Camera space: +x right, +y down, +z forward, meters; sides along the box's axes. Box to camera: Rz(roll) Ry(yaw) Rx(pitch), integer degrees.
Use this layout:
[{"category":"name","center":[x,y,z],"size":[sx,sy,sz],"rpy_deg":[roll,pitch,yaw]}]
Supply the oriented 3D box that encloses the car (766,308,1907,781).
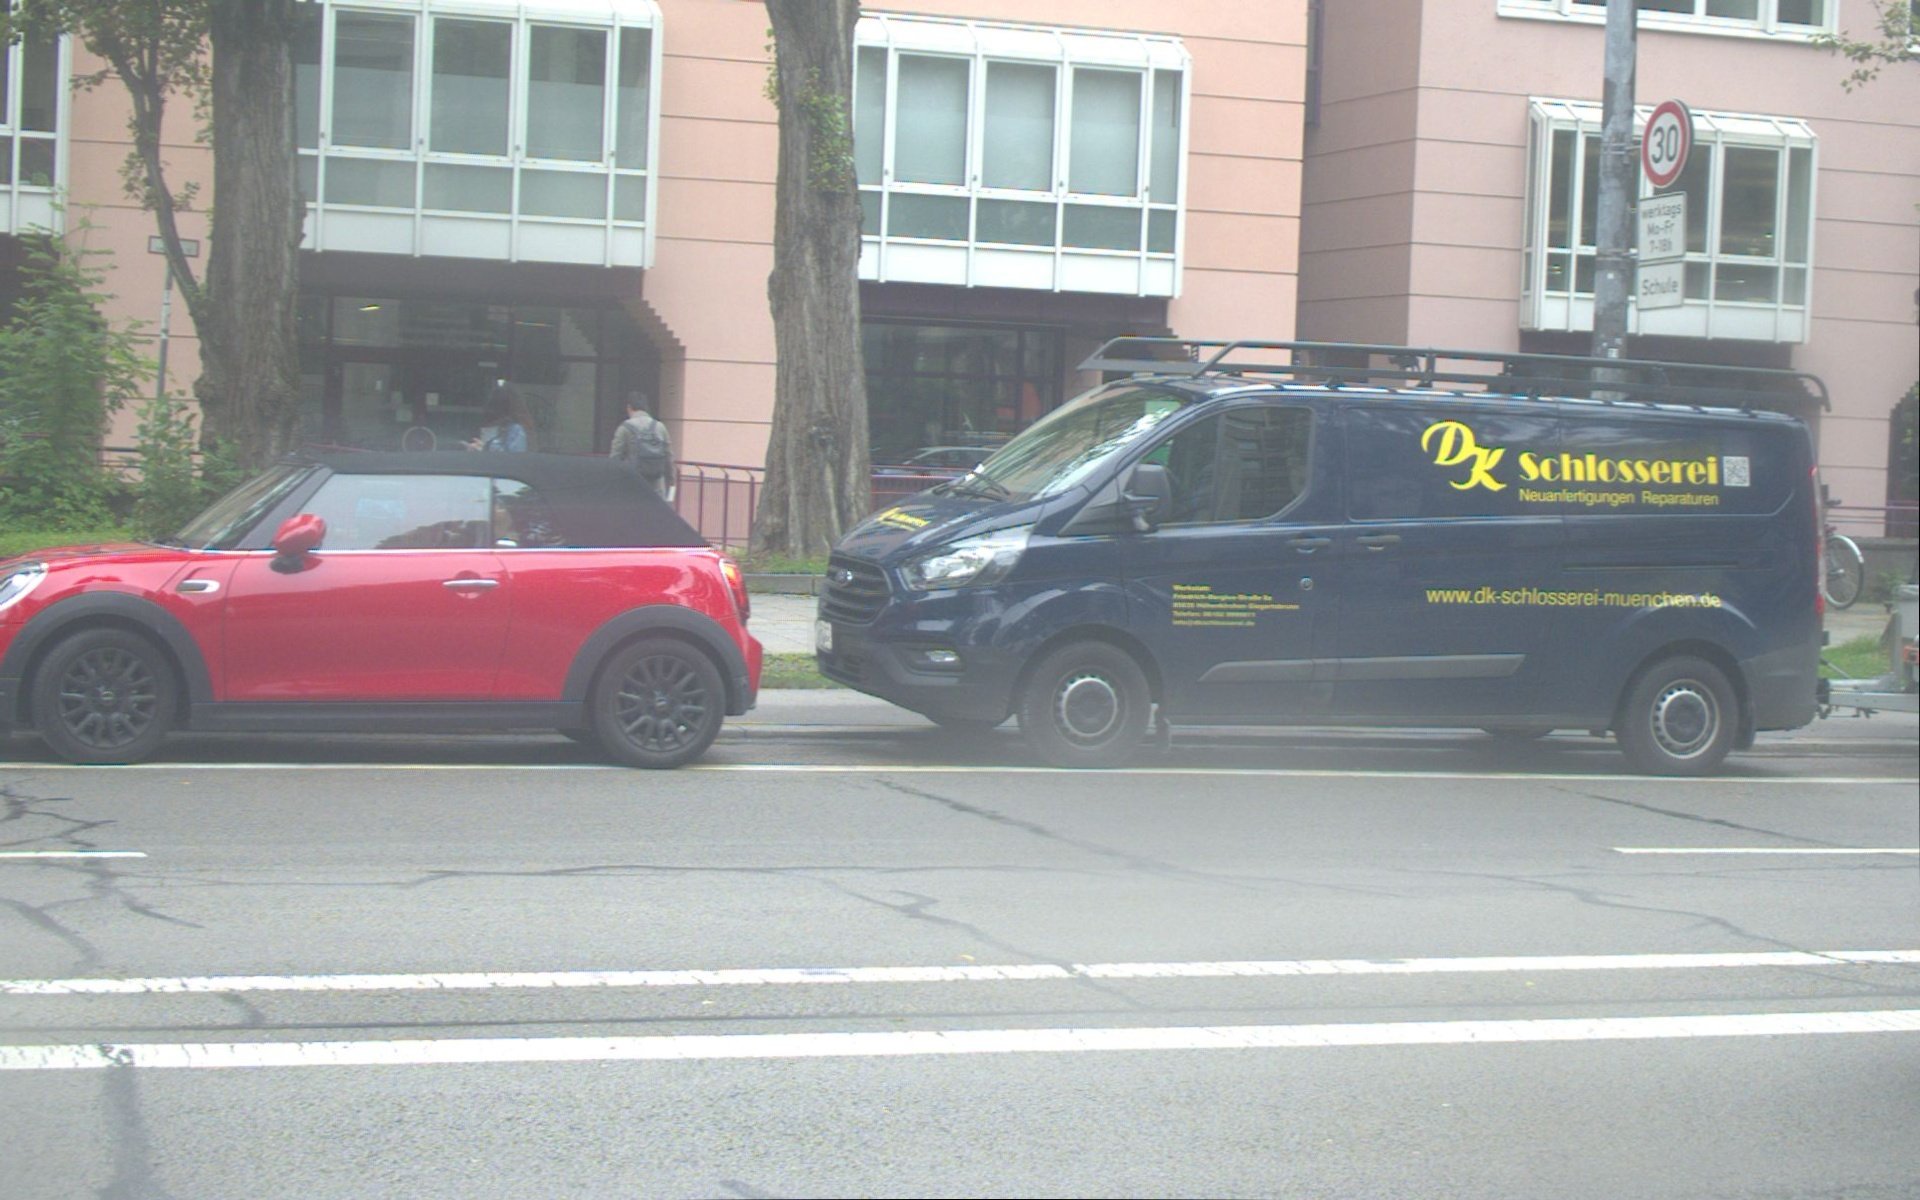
[{"category":"car","center":[1.943,-0.272,17.925],"size":[5.477,2.189,2.025],"rpy_deg":[1,3,-19]}]

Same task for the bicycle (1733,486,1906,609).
[{"category":"bicycle","center":[8.594,-0.539,34.459],"size":[0.673,1.120,1.990],"rpy_deg":[1,3,-18]}]

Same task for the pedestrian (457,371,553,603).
[{"category":"pedestrian","center":[-3.329,-0.833,25.118],"size":[0.557,1.657,0.621],"rpy_deg":[2,3,-15]}]

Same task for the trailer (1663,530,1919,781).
[{"category":"trailer","center":[7.354,0.333,19.803],"size":[6.016,1.195,2.406],"rpy_deg":[1,3,-18]}]

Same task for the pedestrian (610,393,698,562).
[{"category":"pedestrian","center":[-3.163,-1.269,35.502],"size":[0.706,1.707,0.732],"rpy_deg":[2,3,-16]}]

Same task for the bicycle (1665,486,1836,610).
[{"category":"bicycle","center":[7.854,-0.532,34.266],"size":[0.673,1.120,1.990],"rpy_deg":[1,3,-18]}]

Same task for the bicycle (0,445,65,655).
[{"category":"bicycle","center":[-5.566,-0.317,19.769],"size":[0.673,1.120,1.730],"rpy_deg":[1,3,-18]}]

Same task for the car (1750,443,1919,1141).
[{"category":"car","center":[4.508,0.528,8.311],"size":[4.622,1.569,2.001],"rpy_deg":[1,4,-19]}]

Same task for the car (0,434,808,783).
[{"category":"car","center":[-2.811,0.023,16.060],"size":[3.859,1.443,1.679],"rpy_deg":[1,3,-16]}]
